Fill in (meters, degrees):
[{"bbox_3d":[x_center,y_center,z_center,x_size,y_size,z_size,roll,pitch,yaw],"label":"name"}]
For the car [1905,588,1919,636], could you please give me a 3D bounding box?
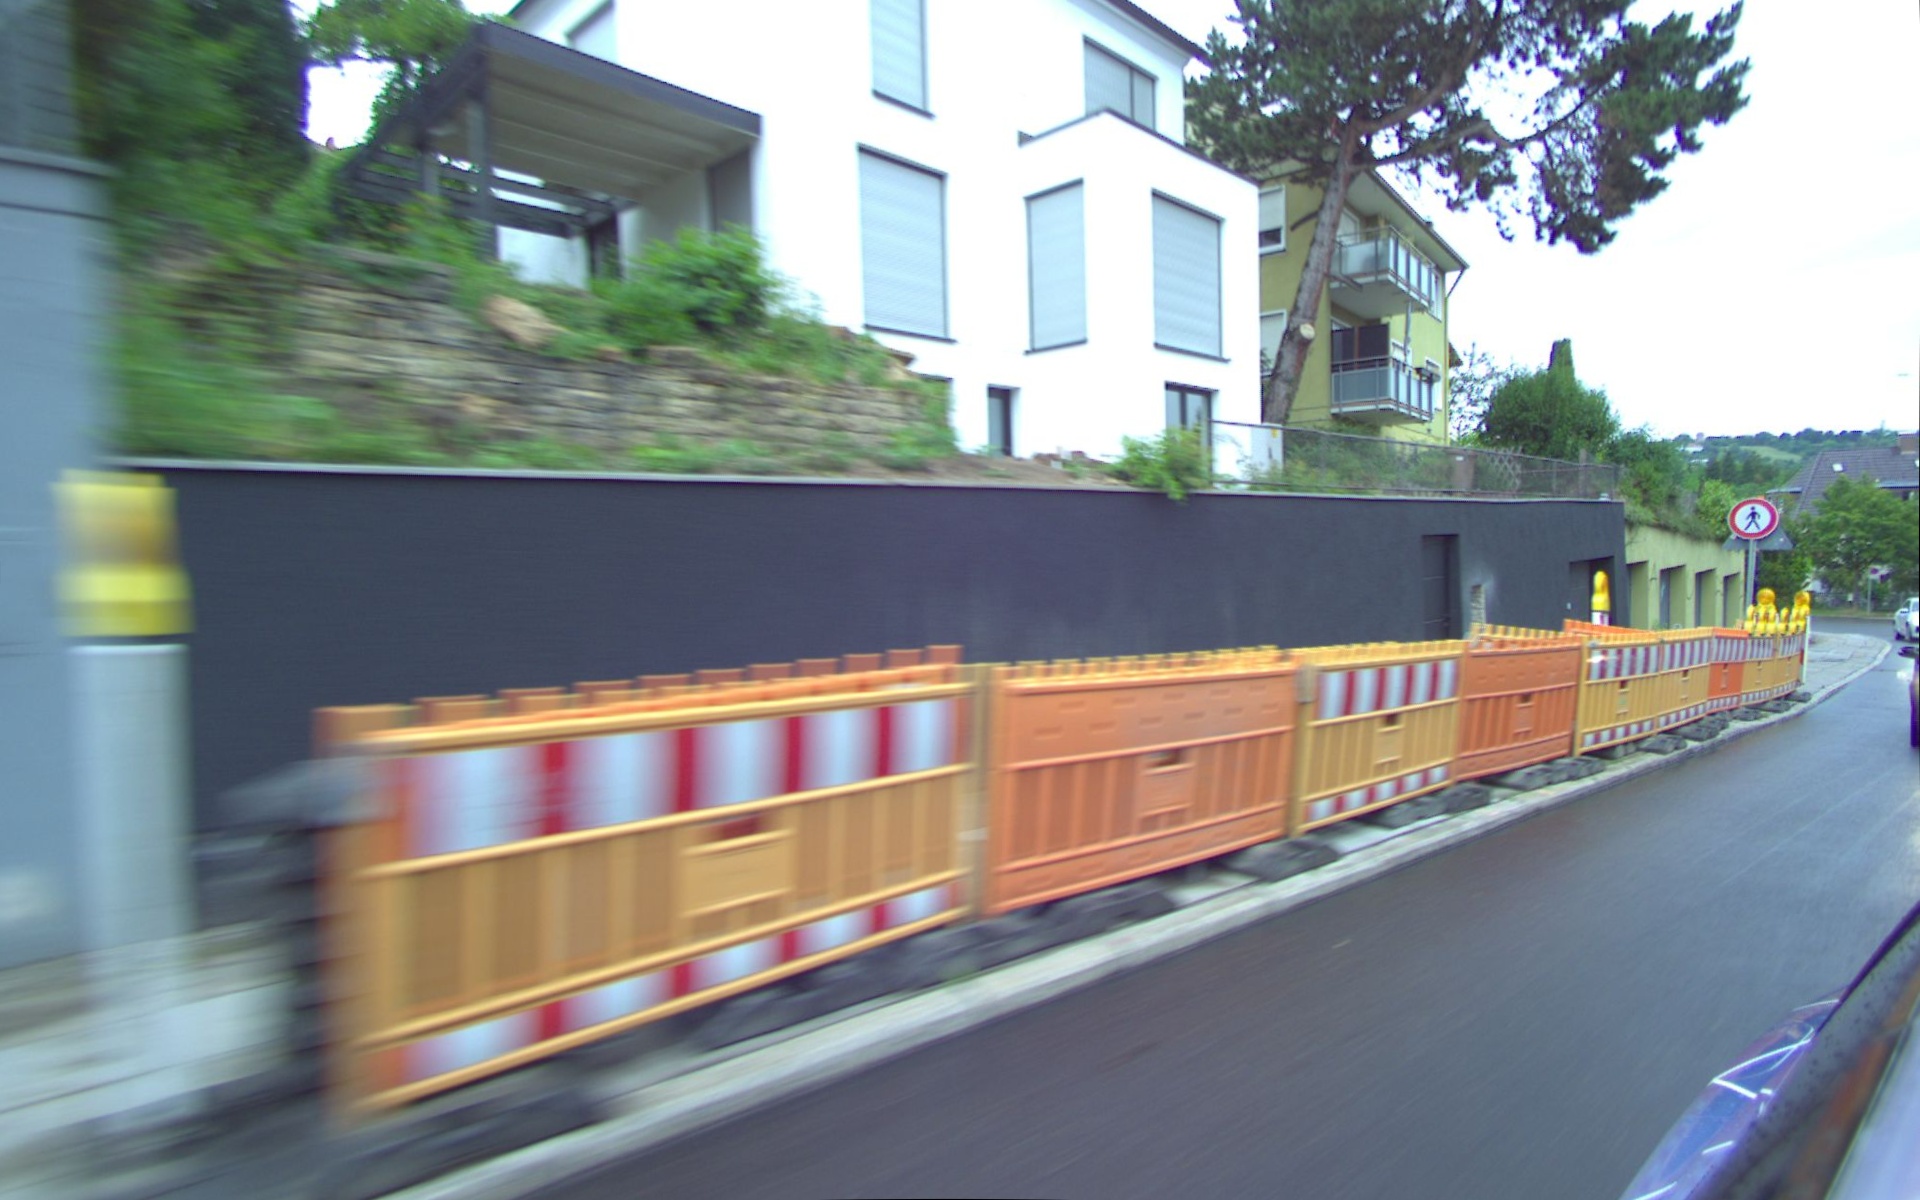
[{"bbox_3d":[36.270,0.449,36.969,1.989,1.730,4.515,0,1,36],"label":"car"}]
